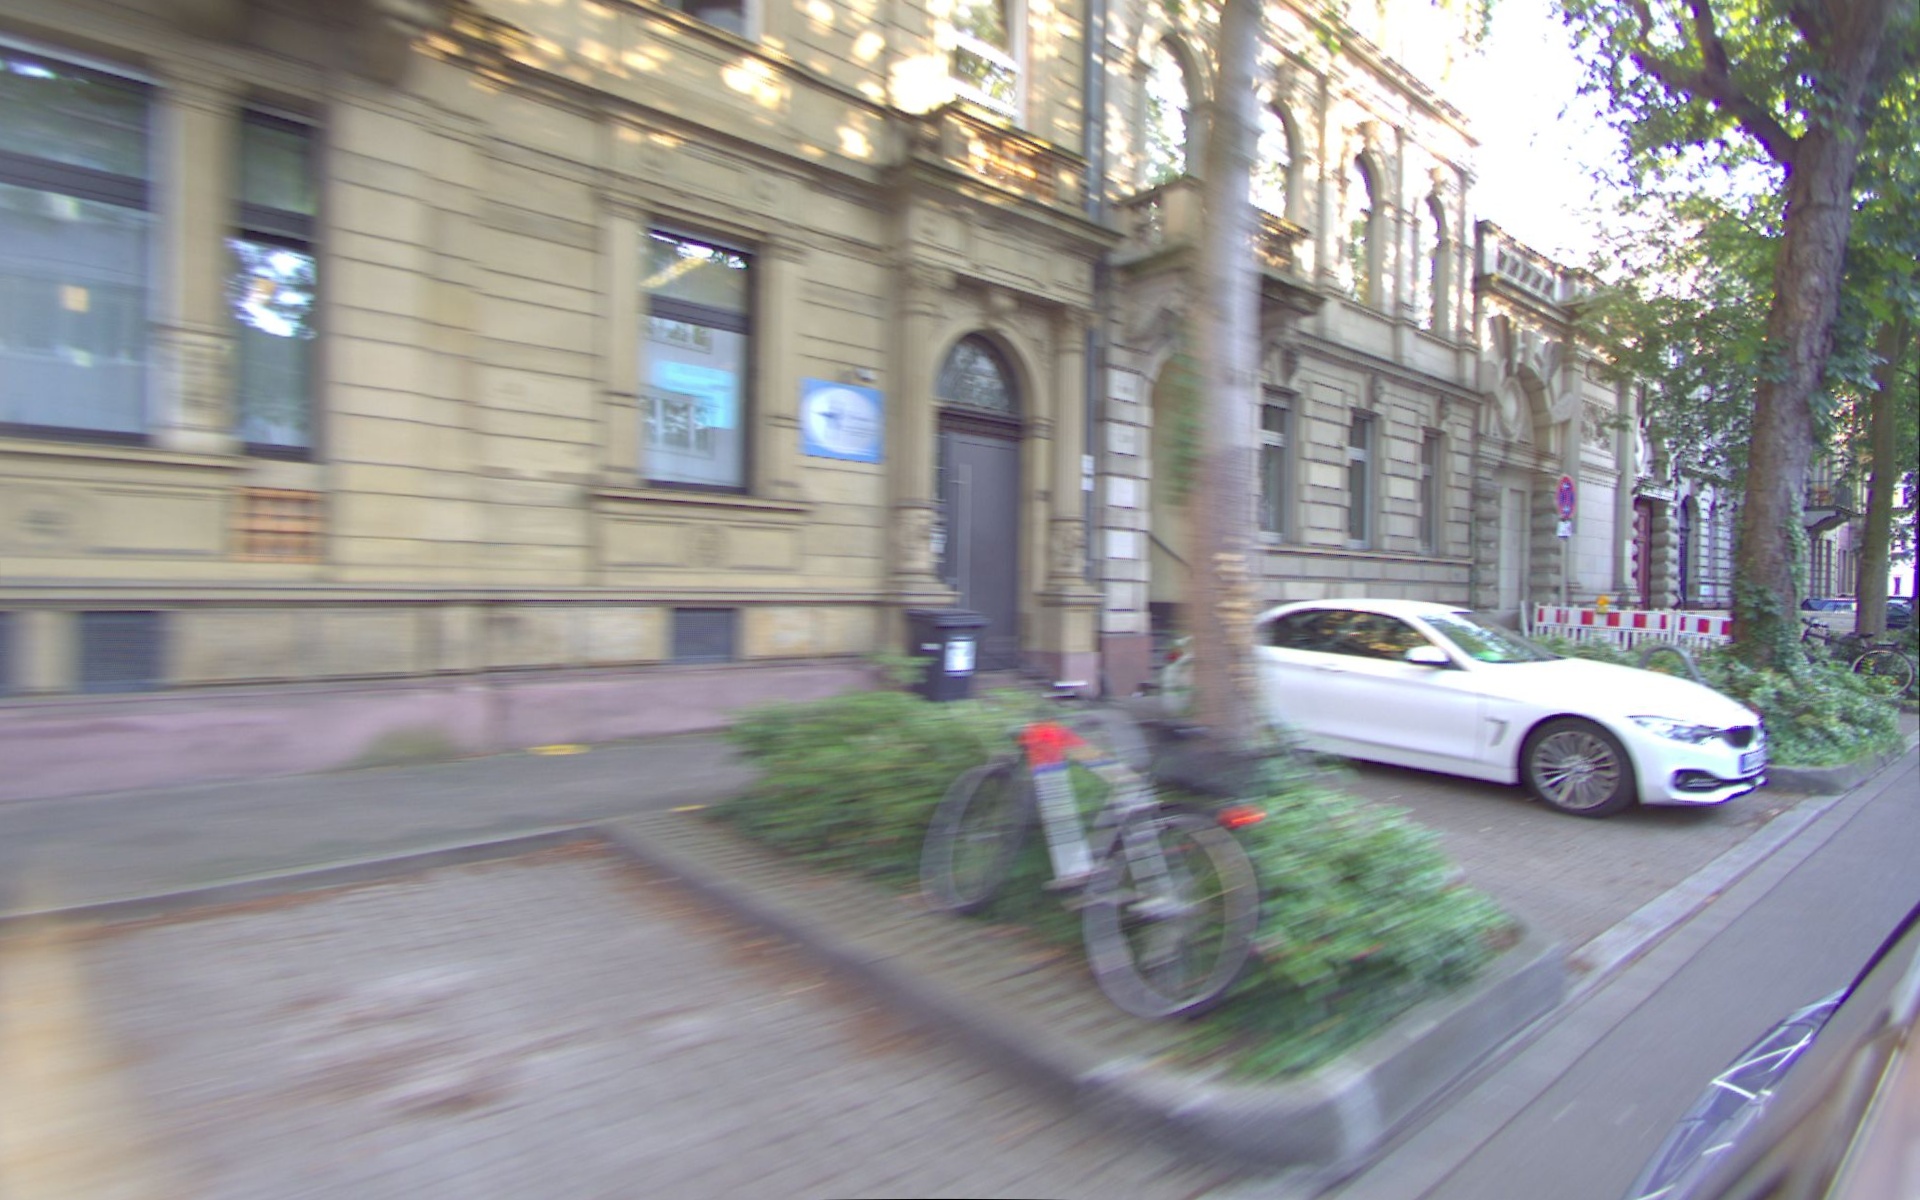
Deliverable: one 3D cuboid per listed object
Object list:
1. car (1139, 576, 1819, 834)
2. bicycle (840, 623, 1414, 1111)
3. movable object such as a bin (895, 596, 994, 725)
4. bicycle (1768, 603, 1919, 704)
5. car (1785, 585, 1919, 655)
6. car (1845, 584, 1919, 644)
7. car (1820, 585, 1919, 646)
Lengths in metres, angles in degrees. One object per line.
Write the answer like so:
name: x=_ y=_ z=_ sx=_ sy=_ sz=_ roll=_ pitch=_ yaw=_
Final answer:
car: x=3.853 y=0.576 z=8.308 sx=1.890 sy=1.455 sz=4.595 roll=0 pitch=1 yaw=-38
bicycle: x=0.475 y=0.769 z=3.642 sx=2.015 sy=1.219 sz=0.482 roll=4 pitch=3 yaw=38
movable object such as a bin: x=-0.144 y=0.522 z=9.182 sx=0.604 sy=1.077 sz=0.659 roll=-1 pitch=3 yaw=-41
bicycle: x=12.814 y=0.727 z=14.360 sx=0.499 sy=1.378 sz=2.049 roll=1 pitch=-1 yaw=-42
car: x=23.244 y=0.521 z=24.921 sx=1.822 sy=1.499 sz=4.234 roll=0 pitch=4 yaw=-40
car: x=30.002 y=0.459 z=30.719 sx=1.933 sy=1.738 sz=4.450 roll=-1 pitch=3 yaw=-40
car: x=27.856 y=0.463 z=29.495 sx=1.734 sy=1.708 sz=4.016 roll=1 pitch=1 yaw=-40
